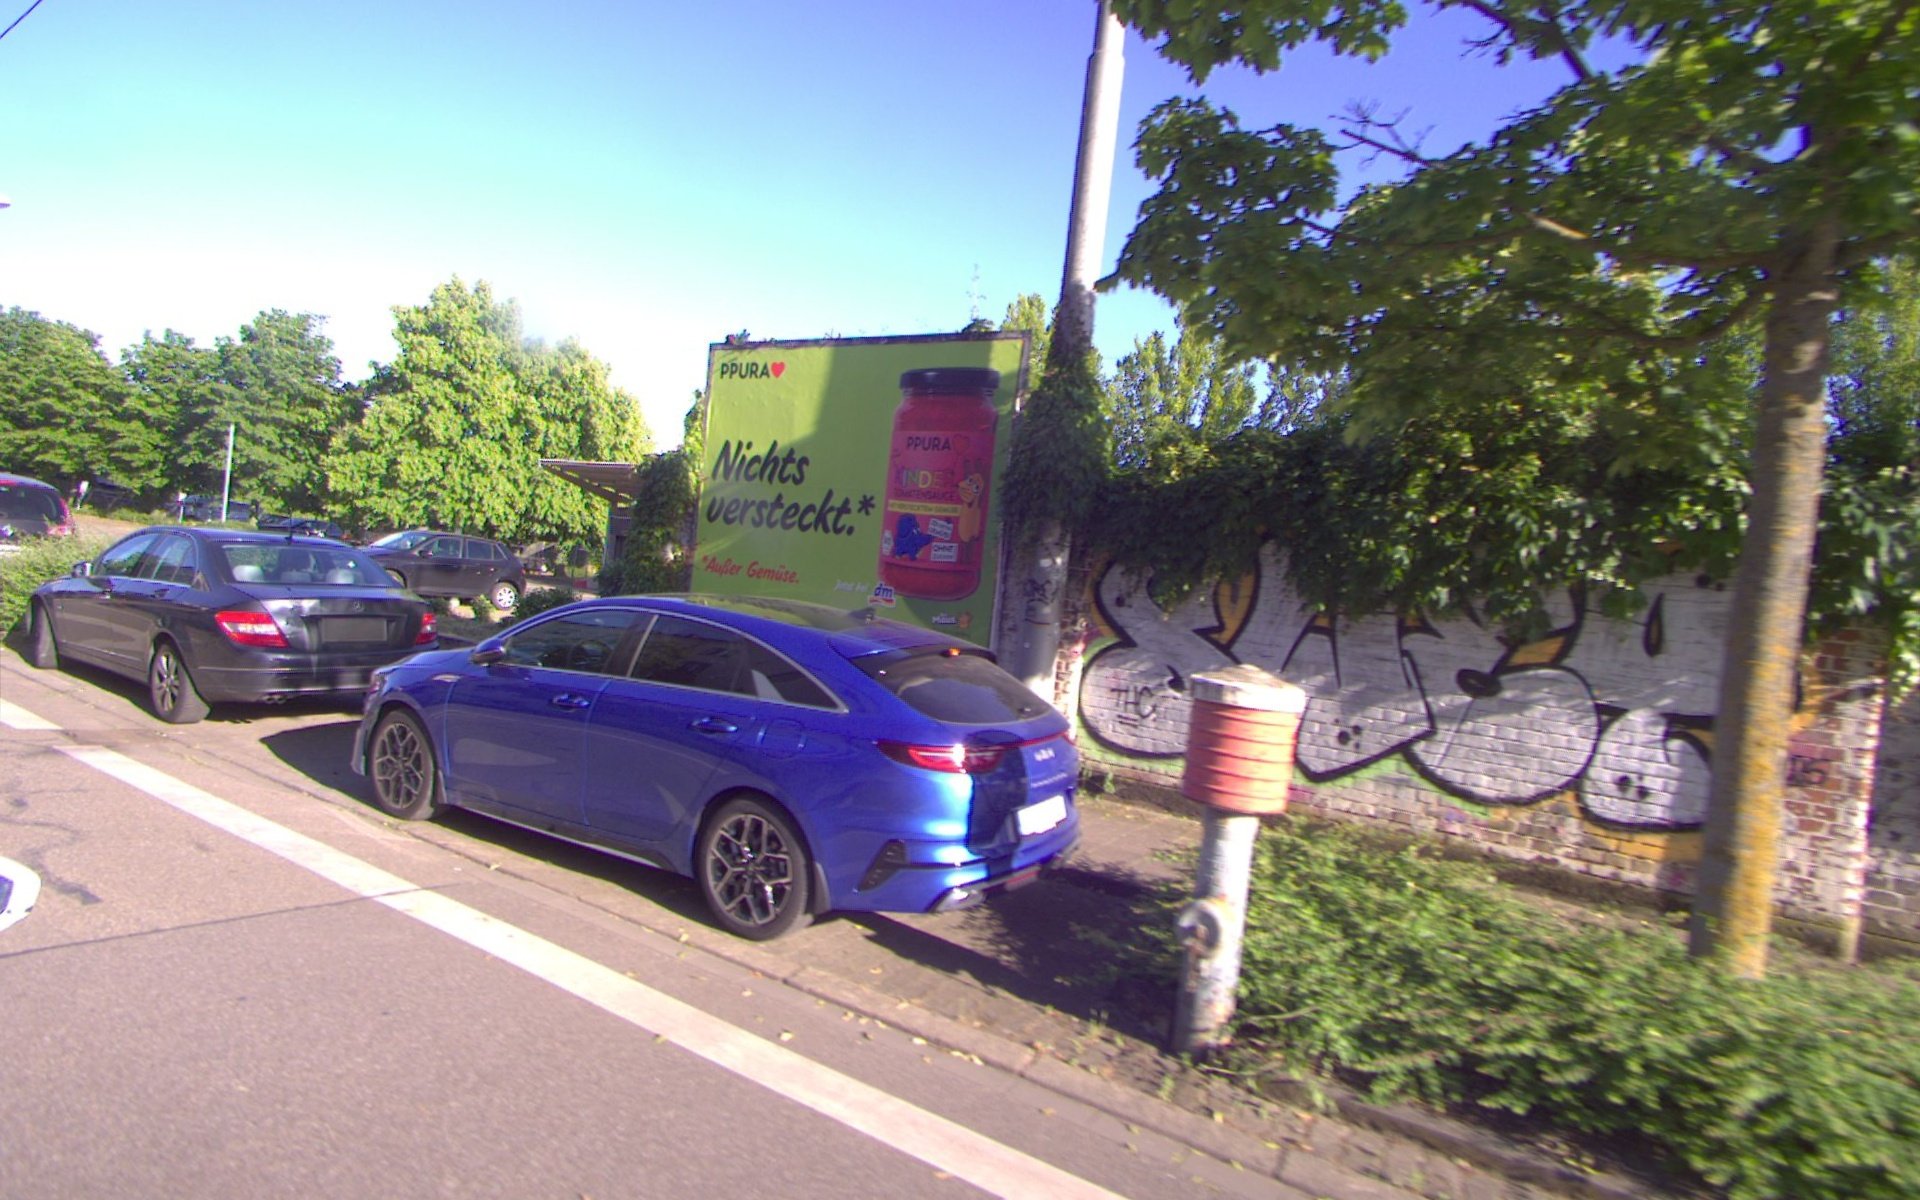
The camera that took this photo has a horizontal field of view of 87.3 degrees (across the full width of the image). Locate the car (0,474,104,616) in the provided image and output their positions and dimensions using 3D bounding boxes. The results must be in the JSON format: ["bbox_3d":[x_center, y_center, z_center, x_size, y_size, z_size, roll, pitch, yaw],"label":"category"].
[{"bbox_3d":[-13.254,-0.886,13.075,4.268,1.623,1.732,7,-1,29],"label":"car"}]

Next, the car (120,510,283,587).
[{"bbox_3d":[-14.143,-0.961,18.732,3.005,1.045,1.312,6,-2,31],"label":"car"}]

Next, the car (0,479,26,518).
[{"bbox_3d":[-54.373,-5.807,55.082,1.743,2.039,4.288,7,1,26],"label":"car"}]

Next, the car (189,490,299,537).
[{"bbox_3d":[-40.941,-4.920,57.688,1.926,1.837,4.699,7,-2,23],"label":"car"}]

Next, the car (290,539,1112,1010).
[{"bbox_3d":[-1.545,0.669,5.572,4.267,1.481,1.732,7,-1,29],"label":"car"}]

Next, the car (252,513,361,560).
[{"bbox_3d":[-36.539,-3.536,56.371,1.926,1.837,4.699,7,-2,23],"label":"car"}]

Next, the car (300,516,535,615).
[{"bbox_3d":[-10.816,-0.639,20.303,1.729,1.416,3.710,7,-2,30],"label":"car"}]

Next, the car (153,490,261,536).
[{"bbox_3d":[-44.684,-5.119,59.816,1.926,1.837,4.699,7,-2,23],"label":"car"}]

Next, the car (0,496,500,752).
[{"bbox_3d":[-6.136,0.125,8.454,4.421,1.481,1.732,7,-1,29],"label":"car"}]

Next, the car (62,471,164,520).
[{"bbox_3d":[-52.434,-6.418,62.349,2.104,2.269,4.201,7,0,19],"label":"car"}]
